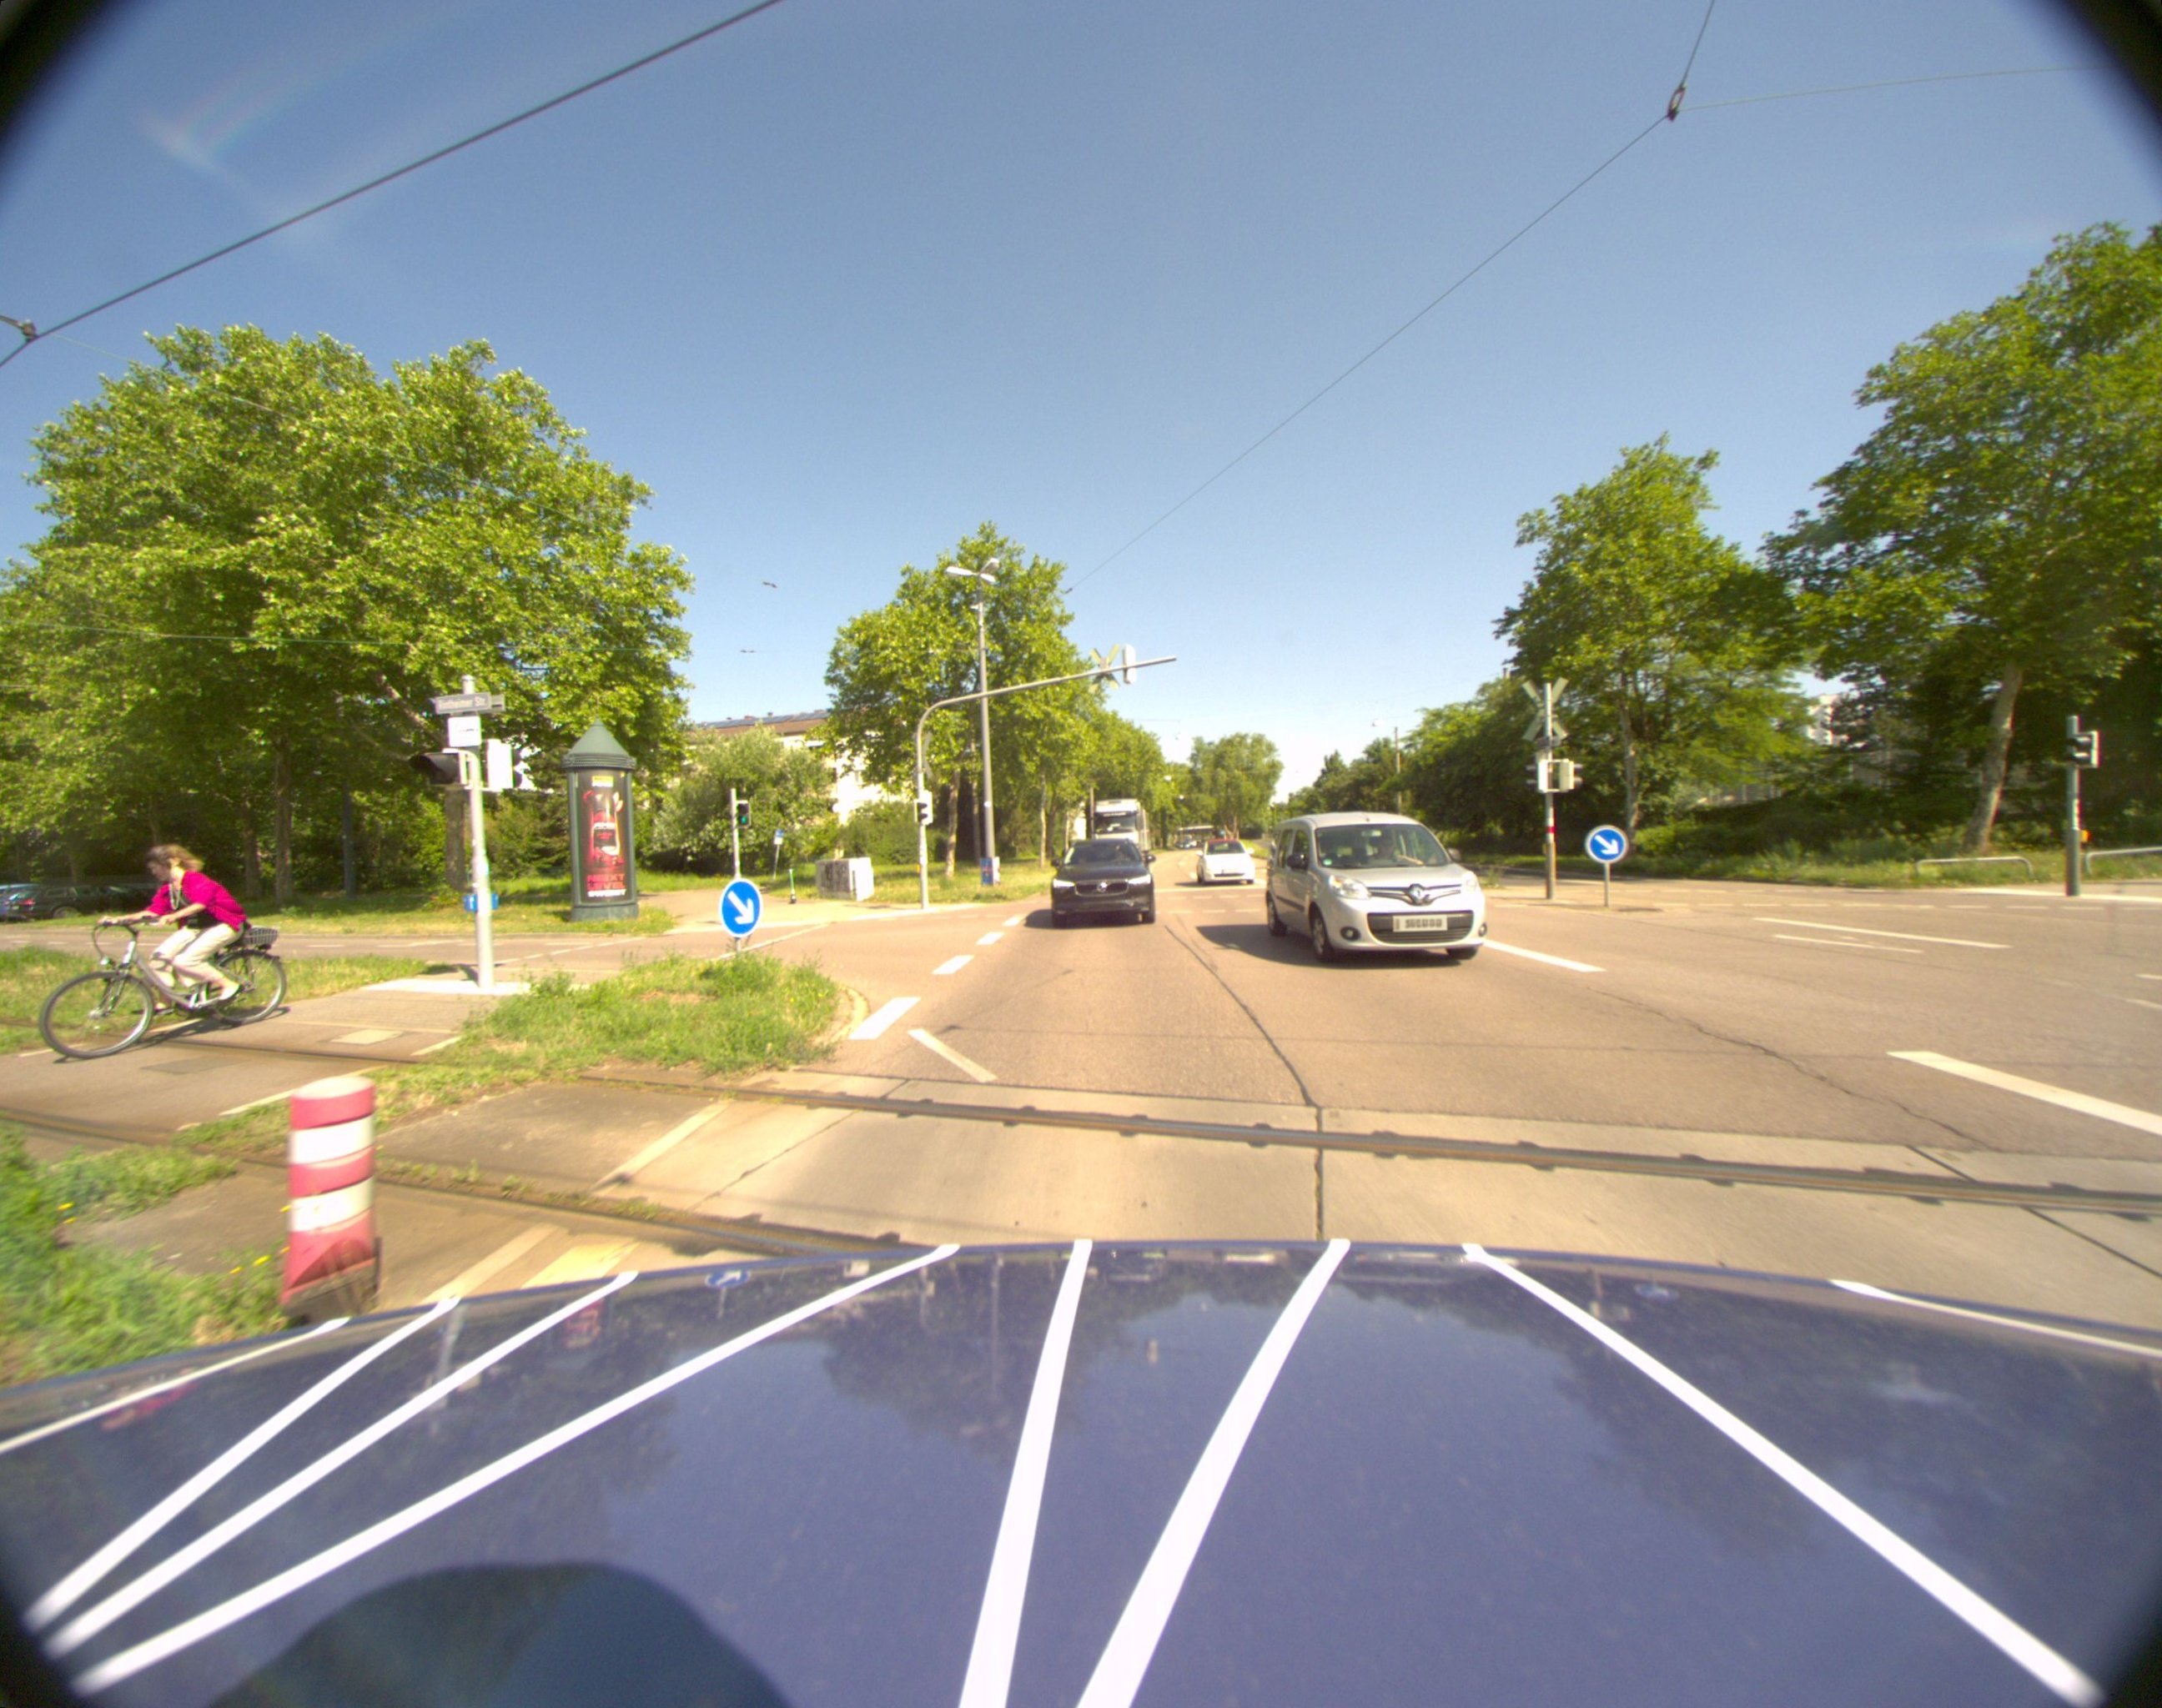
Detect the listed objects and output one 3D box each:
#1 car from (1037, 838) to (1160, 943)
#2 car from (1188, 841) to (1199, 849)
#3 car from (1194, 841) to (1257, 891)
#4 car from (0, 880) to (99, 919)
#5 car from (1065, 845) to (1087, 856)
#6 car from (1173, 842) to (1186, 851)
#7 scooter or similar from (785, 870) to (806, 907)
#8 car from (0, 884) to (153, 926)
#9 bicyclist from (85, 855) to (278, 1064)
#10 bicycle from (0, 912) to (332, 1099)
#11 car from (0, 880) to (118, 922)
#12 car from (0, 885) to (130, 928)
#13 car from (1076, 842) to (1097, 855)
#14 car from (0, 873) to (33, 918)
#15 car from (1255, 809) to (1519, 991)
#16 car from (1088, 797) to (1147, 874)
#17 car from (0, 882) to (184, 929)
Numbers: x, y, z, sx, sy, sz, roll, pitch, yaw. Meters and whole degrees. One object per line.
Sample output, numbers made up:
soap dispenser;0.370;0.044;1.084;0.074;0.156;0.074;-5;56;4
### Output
car;0.464;0.564;14.778;1.903;1.606;4.873;-3;1;4
car;28.367;-2.313;191.226;1.996;2.002;4.004;-2;0;17
car;4.819;0.353;25.751;1.688;1.482;4.377;-2;1;6
car;-49.564;2.154;35.292;1.996;1.623;4.359;-2;1;16
car;-0.641;-0.445;98.830;1.504;1.364;4.094;-2;1;20
car;22.281;-1.761;171.665;1.996;2.002;4.005;-2;1;20
scooter or similar;-9.556;1.138;25.409;0.517;1.135;1.443;-4;2;-23
car;-44.521;2.206;33.325;1.996;1.482;4.359;-2;1;16
bicyclist;-8.195;0.917;6.966;0.702;1.777;0.810;-2;1;0
bicycle;-8.189;1.240;6.841;0.693;1.179;2.124;-2;2;0
car;-47.117;2.140;34.058;1.996;1.623;4.359;-3;0;16
car;-42.520;2.139;30.859;1.996;1.482;4.359;-2;1;16
car;0.751;-0.725;104.381;1.504;1.633;4.094;-2;1;20
car;-57.399;2.221;38.483;1.995;2.276;4.596;-2;1;21
car;3.624;0.461;9.960;1.876;1.829;4.376;-1;1;3
car;2.210;-1.015;43.027;2.901;3.898;7.143;-2;1;5
car;-39.690;2.009;30.439;1.996;1.482;4.359;-2;1;16
